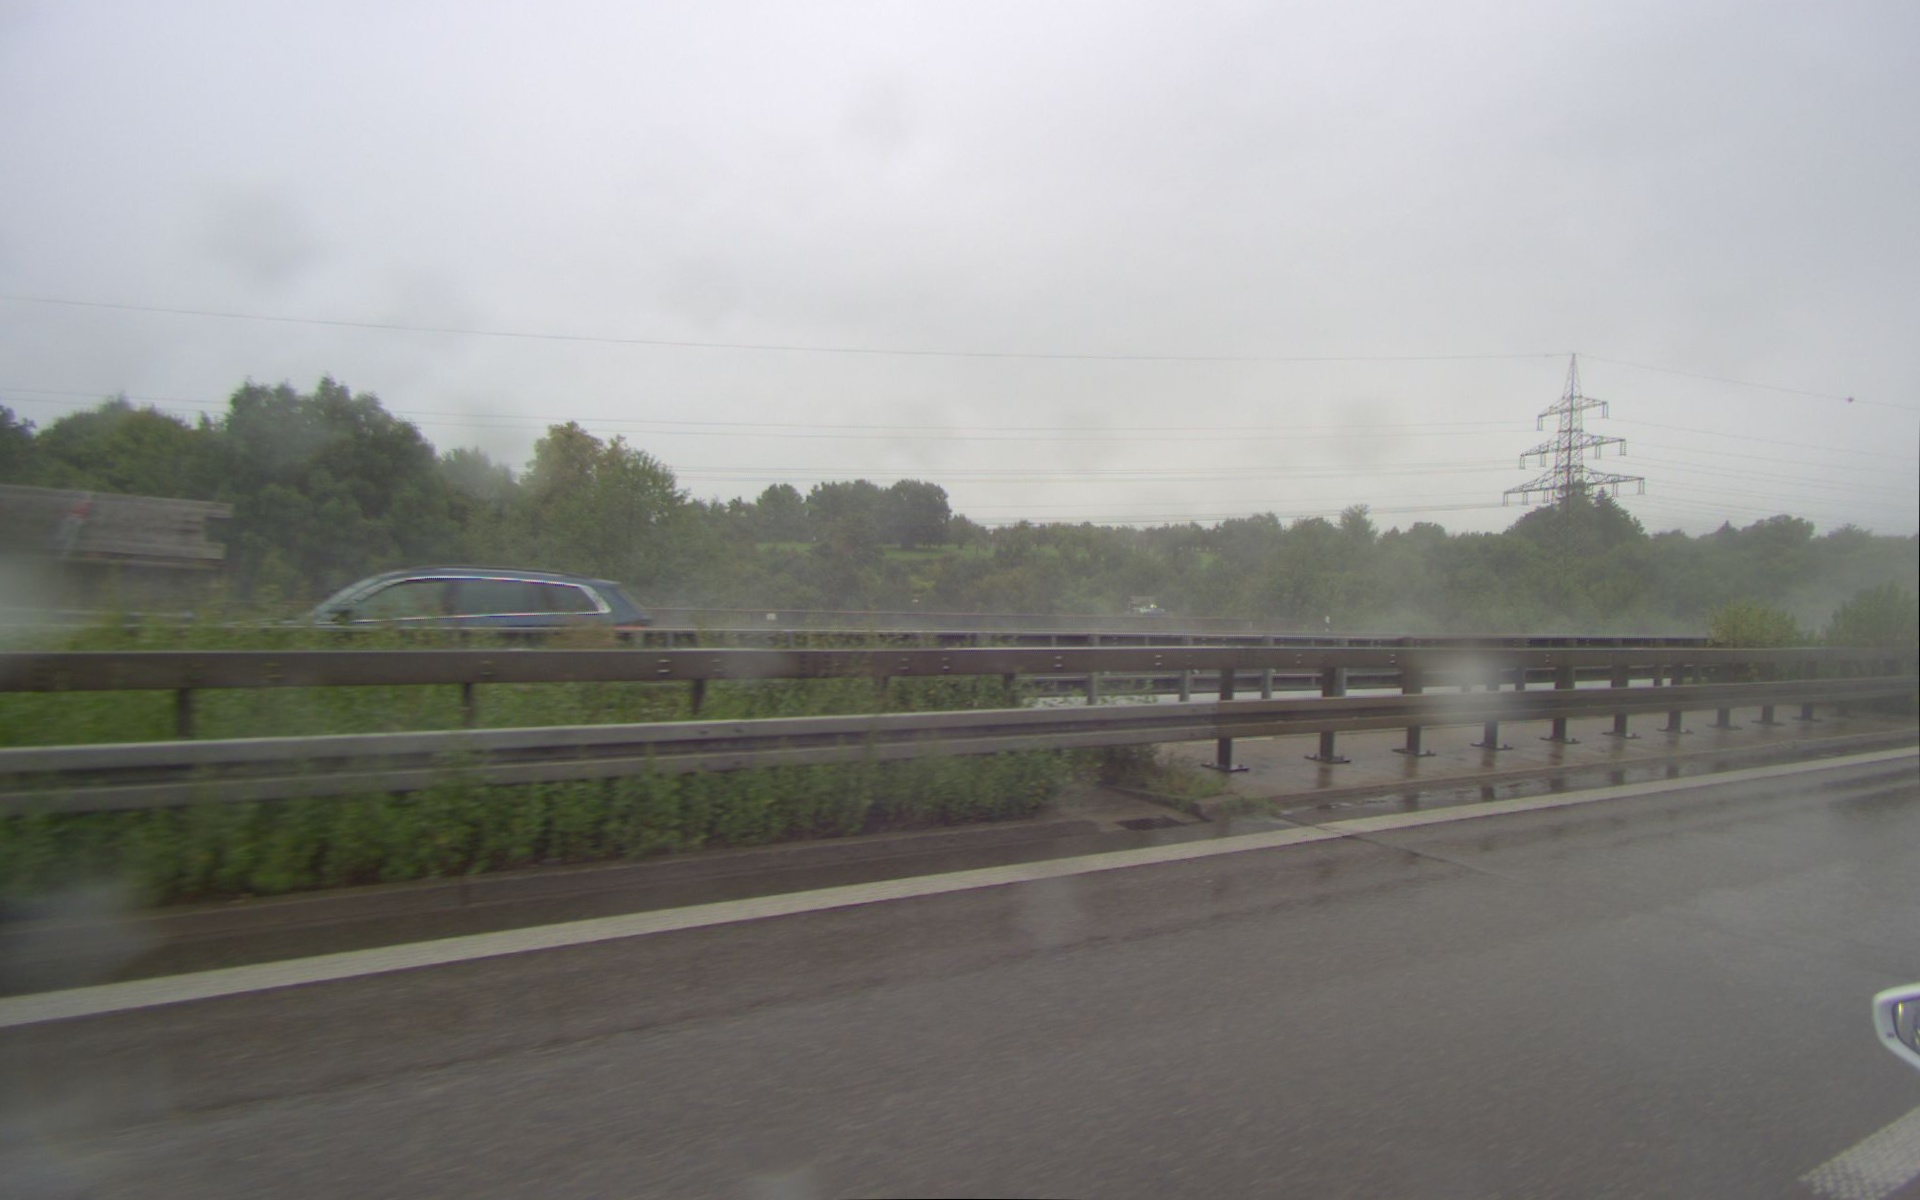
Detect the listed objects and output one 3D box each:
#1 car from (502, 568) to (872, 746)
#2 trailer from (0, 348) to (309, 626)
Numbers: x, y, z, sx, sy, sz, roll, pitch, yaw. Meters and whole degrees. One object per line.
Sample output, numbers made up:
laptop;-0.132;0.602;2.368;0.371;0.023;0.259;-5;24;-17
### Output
car;-3.287;0.624;12.198;3.953;1.836;1.984;1;0;-30
trailer;-16.859;-1.708;13.469;13.373;3.807;2.912;1;4;-29
